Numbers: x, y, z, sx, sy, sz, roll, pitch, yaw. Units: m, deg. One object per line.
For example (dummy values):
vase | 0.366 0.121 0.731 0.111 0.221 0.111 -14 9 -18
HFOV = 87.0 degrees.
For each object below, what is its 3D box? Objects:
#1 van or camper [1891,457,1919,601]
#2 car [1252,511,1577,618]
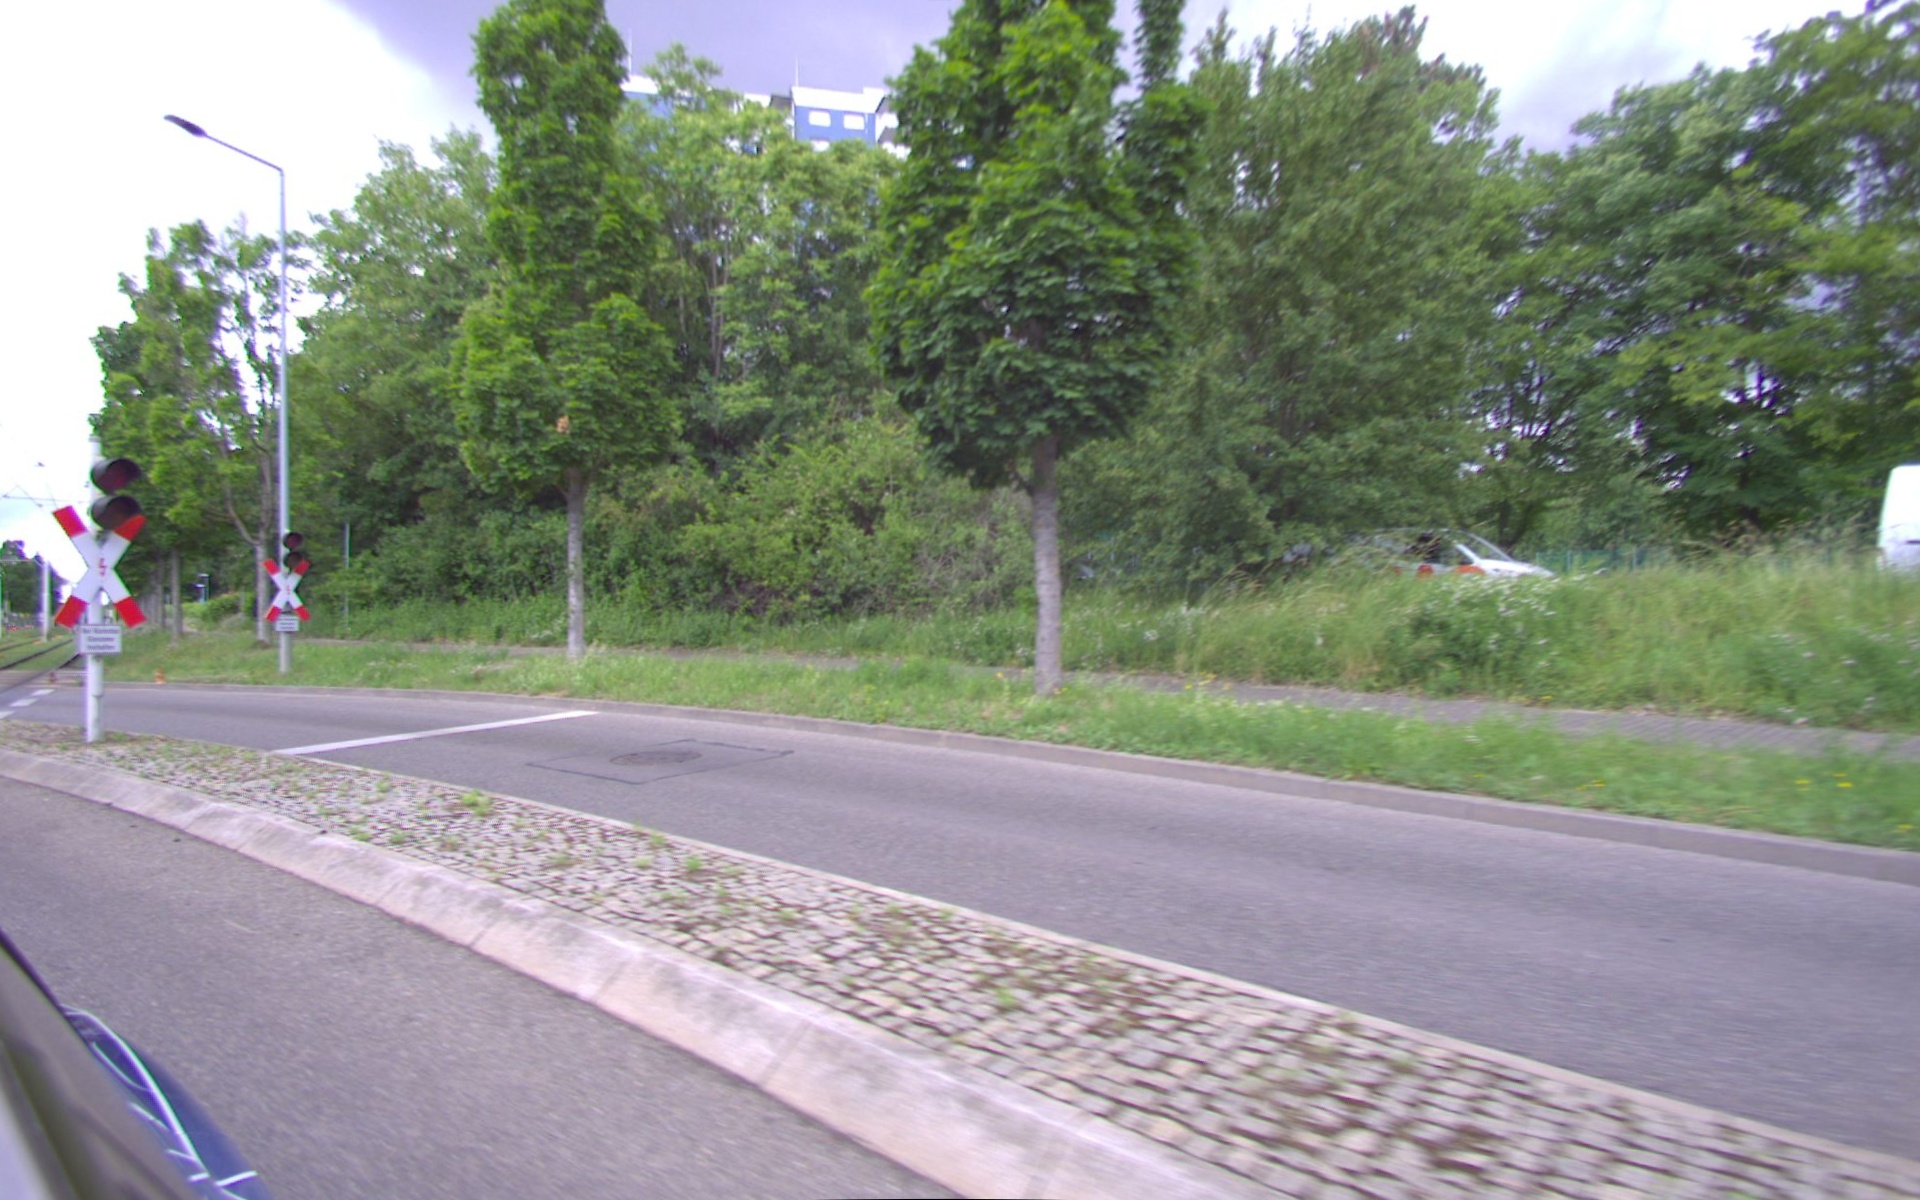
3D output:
van or camper | 14.799 -0.998 12.518 1.969 1.891 4.635 0 -1 -42
car | 8.601 -0.560 19.618 2.112 1.738 5.330 0 -1 -42
